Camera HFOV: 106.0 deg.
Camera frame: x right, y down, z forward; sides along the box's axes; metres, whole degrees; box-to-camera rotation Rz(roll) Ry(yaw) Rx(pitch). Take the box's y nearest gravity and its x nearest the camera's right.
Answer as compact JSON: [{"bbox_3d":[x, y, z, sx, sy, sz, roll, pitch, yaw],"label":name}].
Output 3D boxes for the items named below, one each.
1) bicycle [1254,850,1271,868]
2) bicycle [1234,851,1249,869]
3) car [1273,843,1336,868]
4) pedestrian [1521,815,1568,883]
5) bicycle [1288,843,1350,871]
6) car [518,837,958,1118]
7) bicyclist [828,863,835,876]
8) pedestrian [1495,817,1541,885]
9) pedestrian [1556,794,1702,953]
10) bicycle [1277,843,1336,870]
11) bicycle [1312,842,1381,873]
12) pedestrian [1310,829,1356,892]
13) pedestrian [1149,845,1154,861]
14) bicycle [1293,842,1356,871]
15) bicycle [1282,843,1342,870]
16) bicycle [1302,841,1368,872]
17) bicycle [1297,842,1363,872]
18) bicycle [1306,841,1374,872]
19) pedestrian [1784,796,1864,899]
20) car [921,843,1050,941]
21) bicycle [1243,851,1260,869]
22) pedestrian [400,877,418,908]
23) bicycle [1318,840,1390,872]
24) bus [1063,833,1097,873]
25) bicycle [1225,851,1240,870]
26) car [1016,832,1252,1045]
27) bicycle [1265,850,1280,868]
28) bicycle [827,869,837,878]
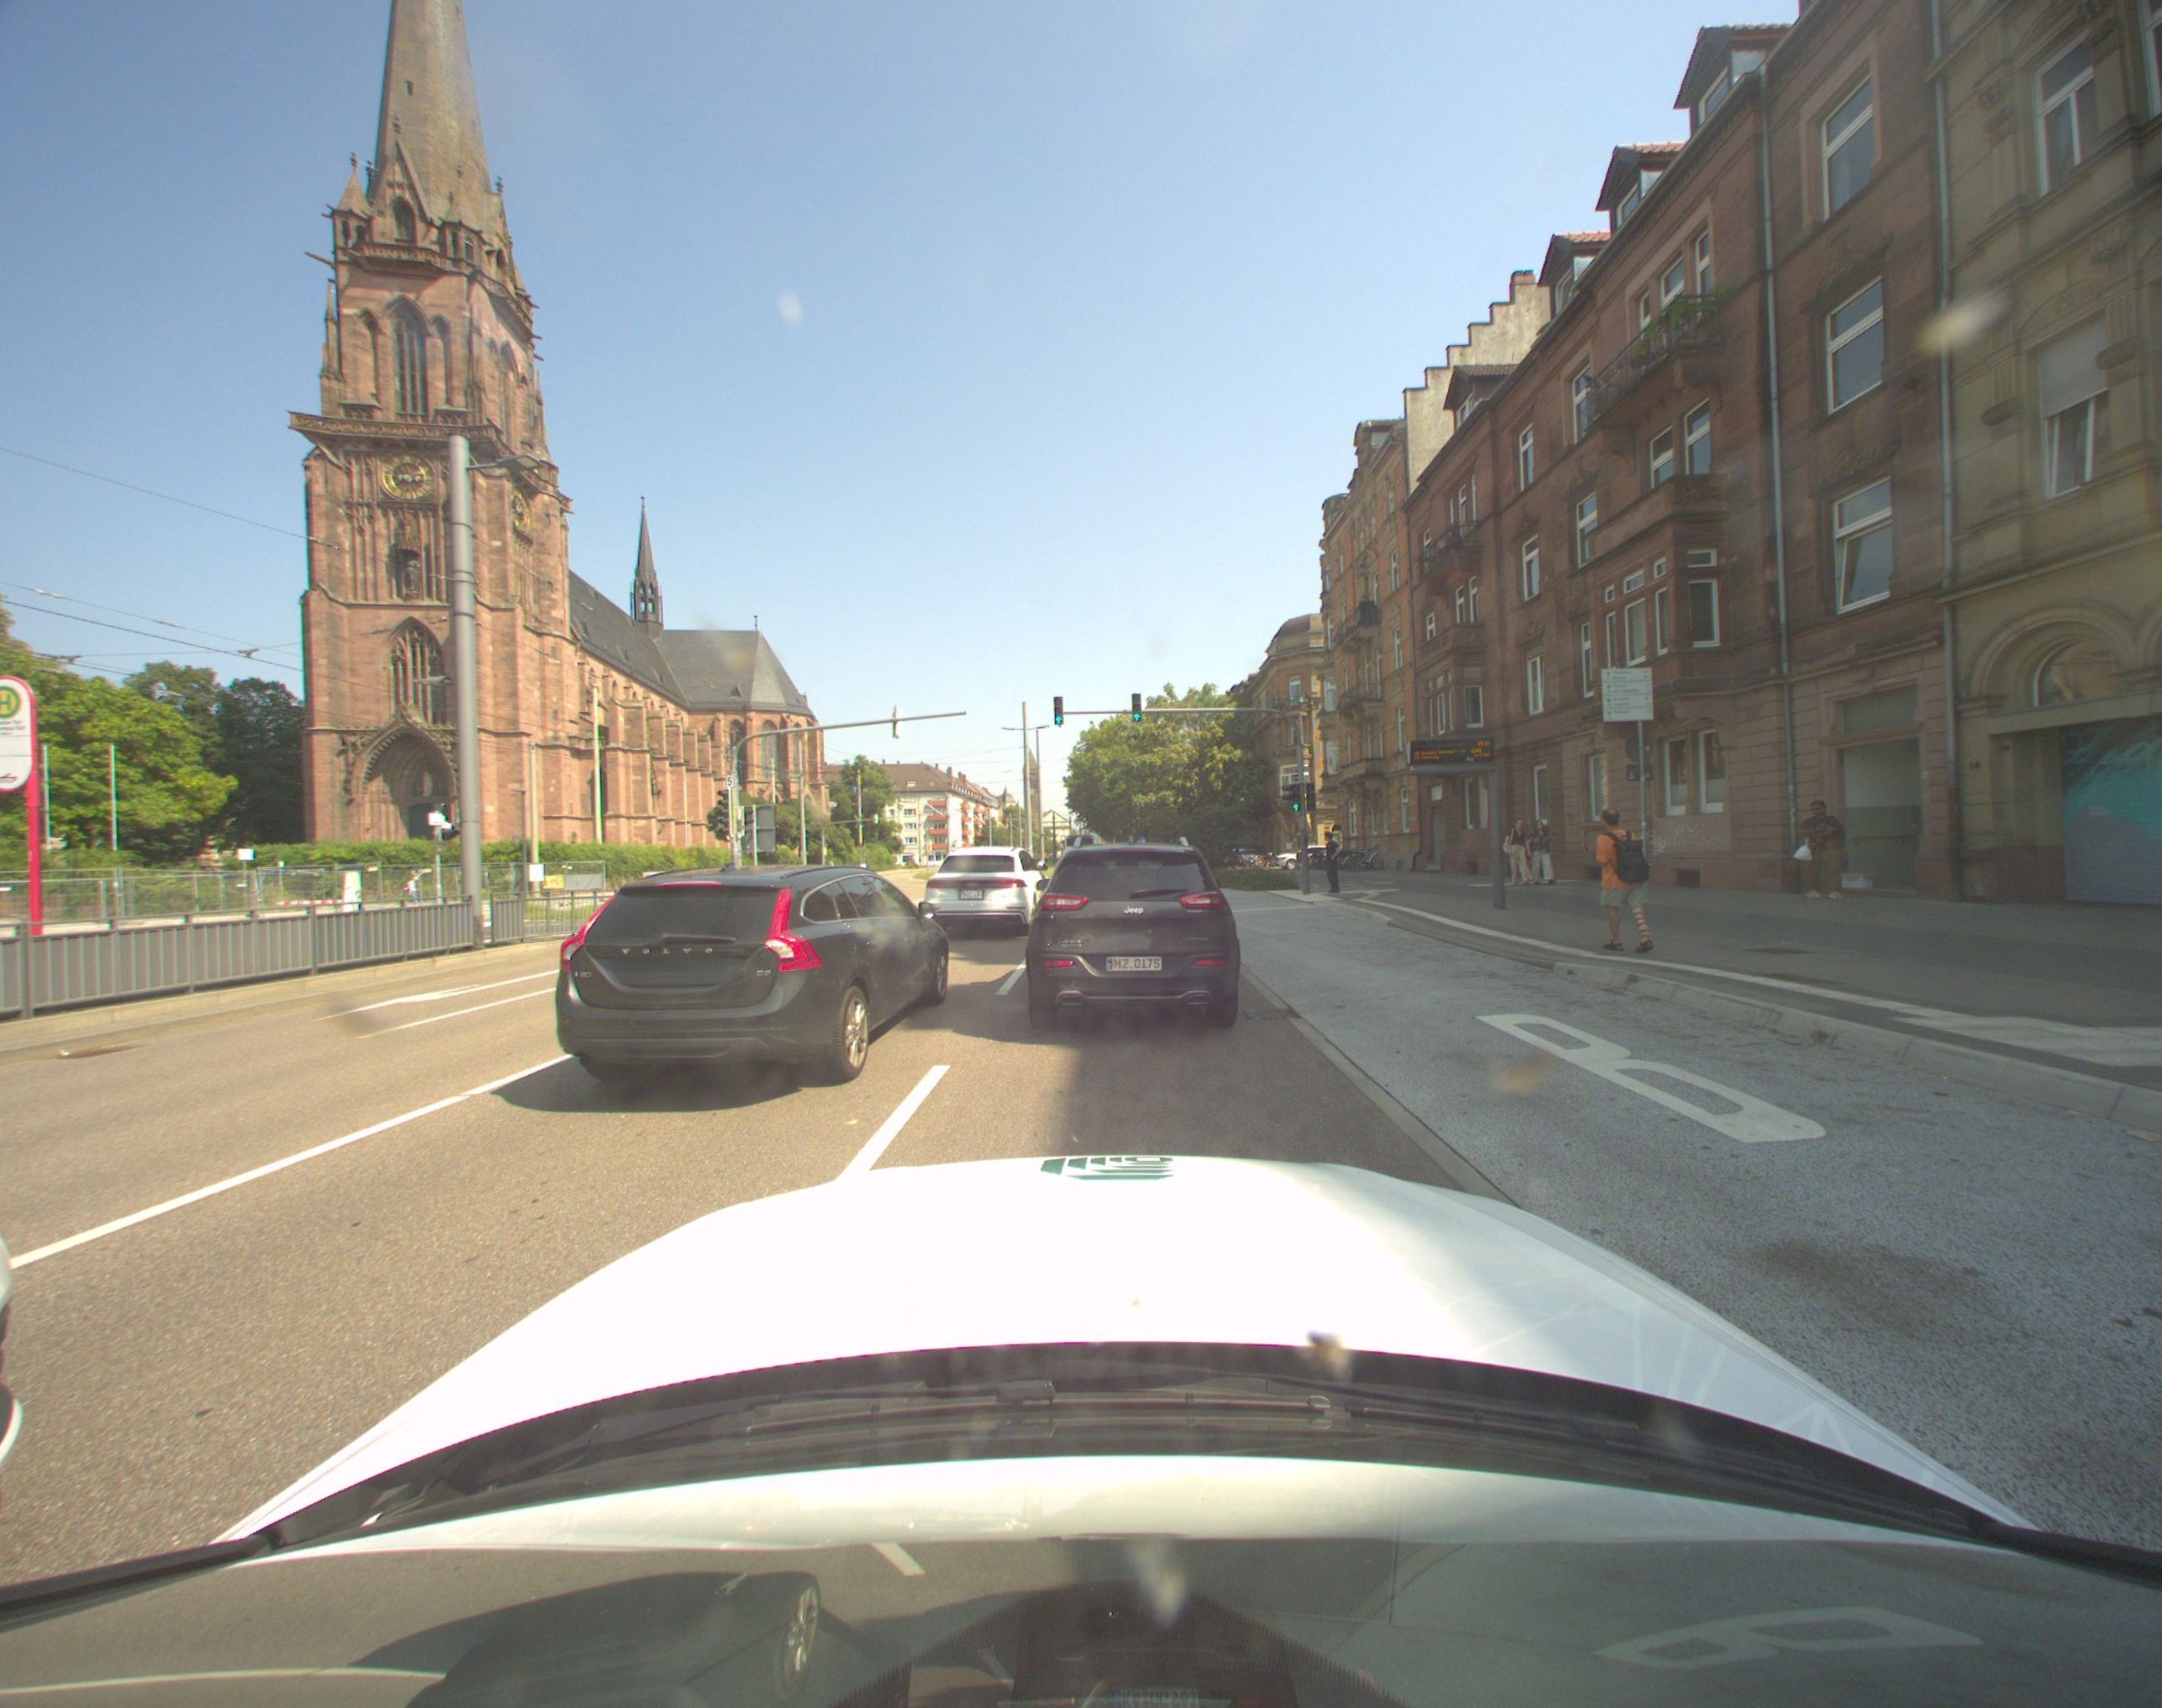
[{"bbox_3d":[12.984,0.362,58.316,0.759,1.253,3.017,-2,0,4],"label":"bicycle"},{"bbox_3d":[11.501,0.421,58.339,0.646,1.253,3.017,-2,0,4],"label":"bicycle"},{"bbox_3d":[15.691,0.104,57.269,3.926,1.521,1.679,-2,0,-6],"label":"car"},{"bbox_3d":[12.537,-0.124,22.041,0.712,1.778,0.870,-2,0,0],"label":"pedestrian"},{"bbox_3d":[12.730,0.143,43.666,2.993,1.373,0.948,-2,0,1],"label":"bicycle"},{"bbox_3d":[-2.323,0.713,6.885,1.741,1.614,4.310,-1,0,2],"label":"car"},{"bbox_3d":[-24.839,1.557,81.139,0.446,1.321,0.425,-2,0,3],"label":"bicyclist"},{"bbox_3d":[11.807,-0.077,22.026,0.711,1.776,0.848,-2,0,1],"label":"pedestrian"},{"bbox_3d":[6.417,0.238,9.632,0.958,1.741,1.243,-2,-2,11],"label":"pedestrian"},{"bbox_3d":[12.730,0.153,46.027,2.993,1.373,0.948,-2,0,1],"label":"bicycle"},{"bbox_3d":[12.612,0.164,38.756,2.983,1.371,0.871,-2,0,1],"label":"bicycle"},{"bbox_3d":[7.221,0.184,23.341,0.771,1.741,0.892,-3,-1,-31],"label":"pedestrian"},{"bbox_3d":[9.251,-0.135,106.265,0.526,2.013,0.532,-2,0,0],"label":"pedestrian"},{"bbox_3d":[12.736,0.140,42.655,2.993,1.373,0.948,-2,0,1],"label":"bicycle"},{"bbox_3d":[12.736,0.145,44.984,2.993,1.373,0.948,-2,0,1],"label":"bicycle"},{"bbox_3d":[12.657,0.130,40.617,2.983,1.371,0.871,-2,0,1],"label":"bicycle"},{"bbox_3d":[12.688,0.138,41.561,2.993,1.373,0.948,-2,0,1],"label":"bicycle"},{"bbox_3d":[12.602,0.132,39.670,2.983,1.371,0.871,-2,0,1],"label":"bicycle"},{"bbox_3d":[13.275,-0.124,14.561,0.872,1.778,0.737,-2,0,-26],"label":"pedestrian"},{"bbox_3d":[-1.731,0.649,16.208,1.895,1.651,4.310,-1,0,2],"label":"car"},{"bbox_3d":[12.197,0.394,58.321,0.729,1.253,3.017,-2,0,4],"label":"bicycle"},{"bbox_3d":[-33.955,1.933,41.148,0.545,1.531,0.432,-2,0,-23],"label":"pedestrian"},{"bbox_3d":[12.673,0.085,37.848,2.983,1.371,0.871,-2,0,1],"label":"bicycle"},{"bbox_3d":[-0.037,-0.055,71.168,2.734,3.107,11.954,0,0,0],"label":"bus"},{"bbox_3d":[10.844,0.451,58.379,0.646,1.253,3.017,-2,0,4],"label":"bicycle"},{"bbox_3d":[0.526,0.657,8.533,1.825,1.651,4.312,-1,0,3],"label":"car"},{"bbox_3d":[13.798,0.329,58.731,0.655,1.249,2.415,-2,0,4],"label":"bicycle"},{"bbox_3d":[-24.827,1.952,81.123,0.452,0.859,1.477,-2,0,3],"label":"bicycle"}]
